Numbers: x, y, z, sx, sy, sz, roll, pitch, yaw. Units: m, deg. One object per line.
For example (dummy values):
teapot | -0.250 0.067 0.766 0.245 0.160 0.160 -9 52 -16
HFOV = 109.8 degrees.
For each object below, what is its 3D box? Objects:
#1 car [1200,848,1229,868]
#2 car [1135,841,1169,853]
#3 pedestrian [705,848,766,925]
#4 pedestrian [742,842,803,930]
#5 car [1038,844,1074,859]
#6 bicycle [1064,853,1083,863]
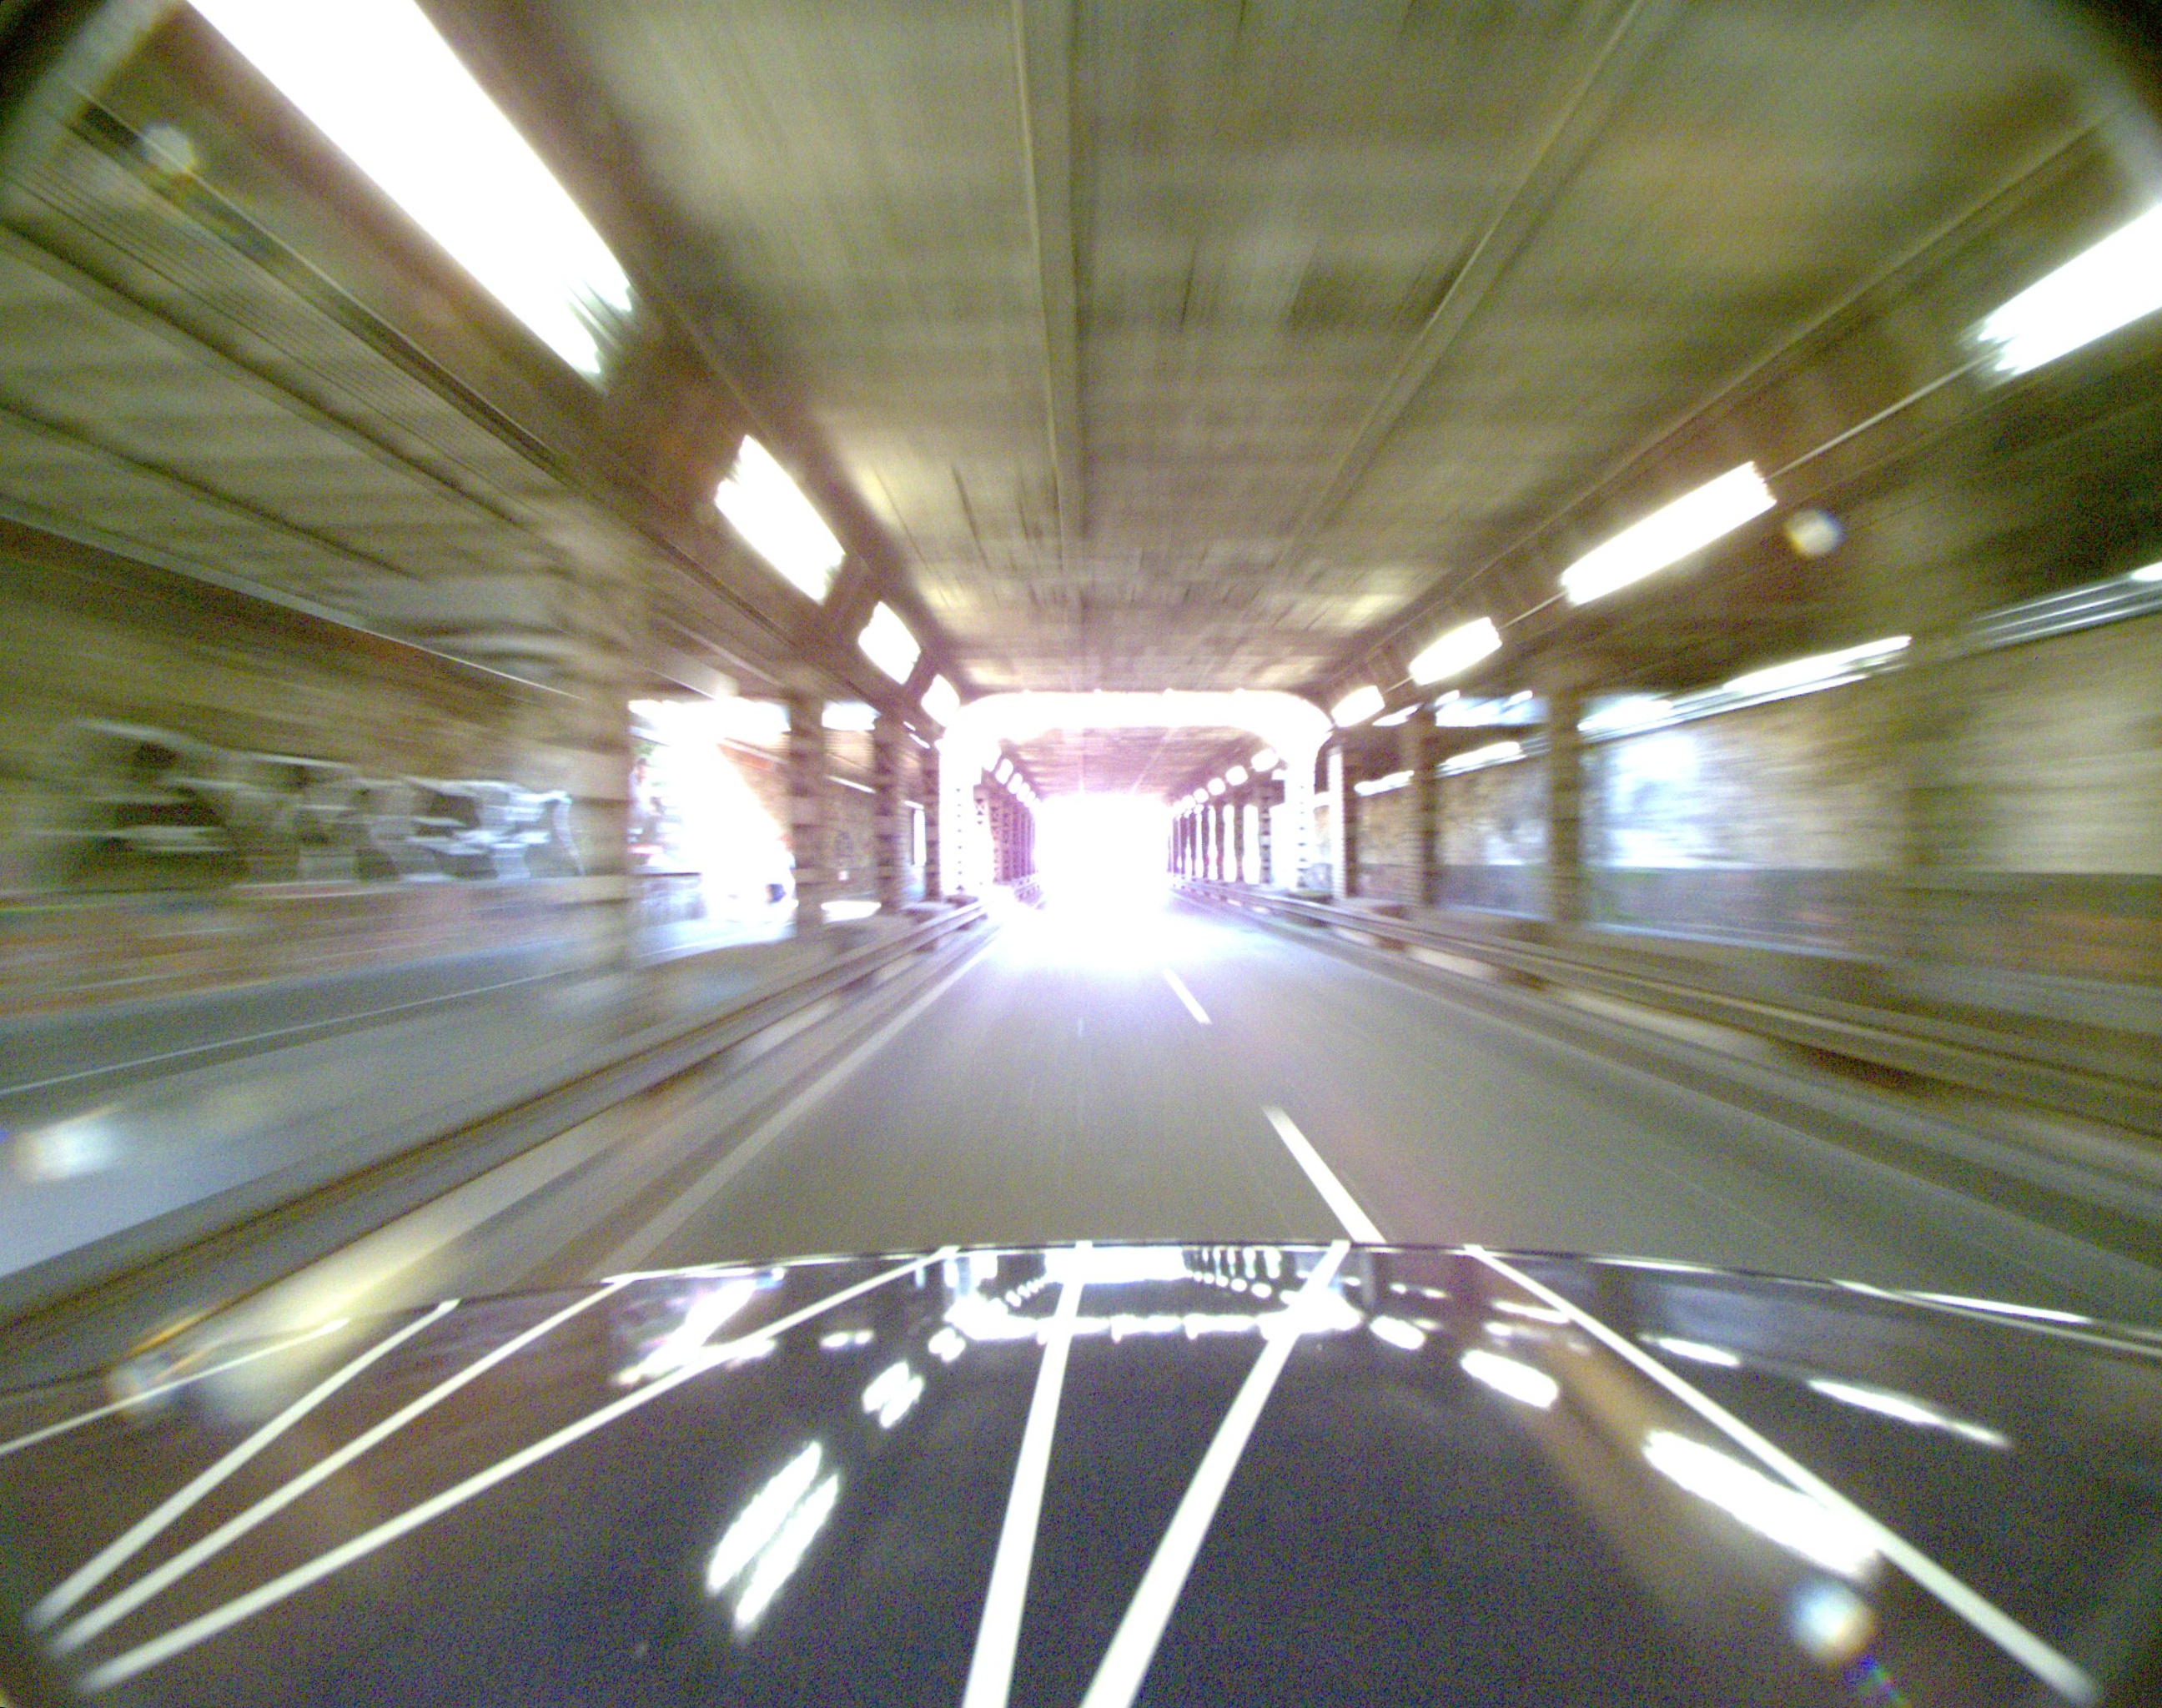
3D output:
car | 10.873 0.297 61.885 1.953 1.509 4.391 1 1 15
car | 9.648 -0.942 103.889 4.325 1.590 1.858 -1 1 -8
pedestrian | -7.697 0.710 16.963 0.919 1.646 0.886 2 0 -3
pedestrian | -6.675 0.684 16.486 0.882 1.824 0.922 2 0 -3
car | -3.368 -0.328 101.836 4.271 1.733 1.856 4 0 -19
bicycle | -1.180 0.625 117.069 2.947 1.607 0.908 0 1 34
